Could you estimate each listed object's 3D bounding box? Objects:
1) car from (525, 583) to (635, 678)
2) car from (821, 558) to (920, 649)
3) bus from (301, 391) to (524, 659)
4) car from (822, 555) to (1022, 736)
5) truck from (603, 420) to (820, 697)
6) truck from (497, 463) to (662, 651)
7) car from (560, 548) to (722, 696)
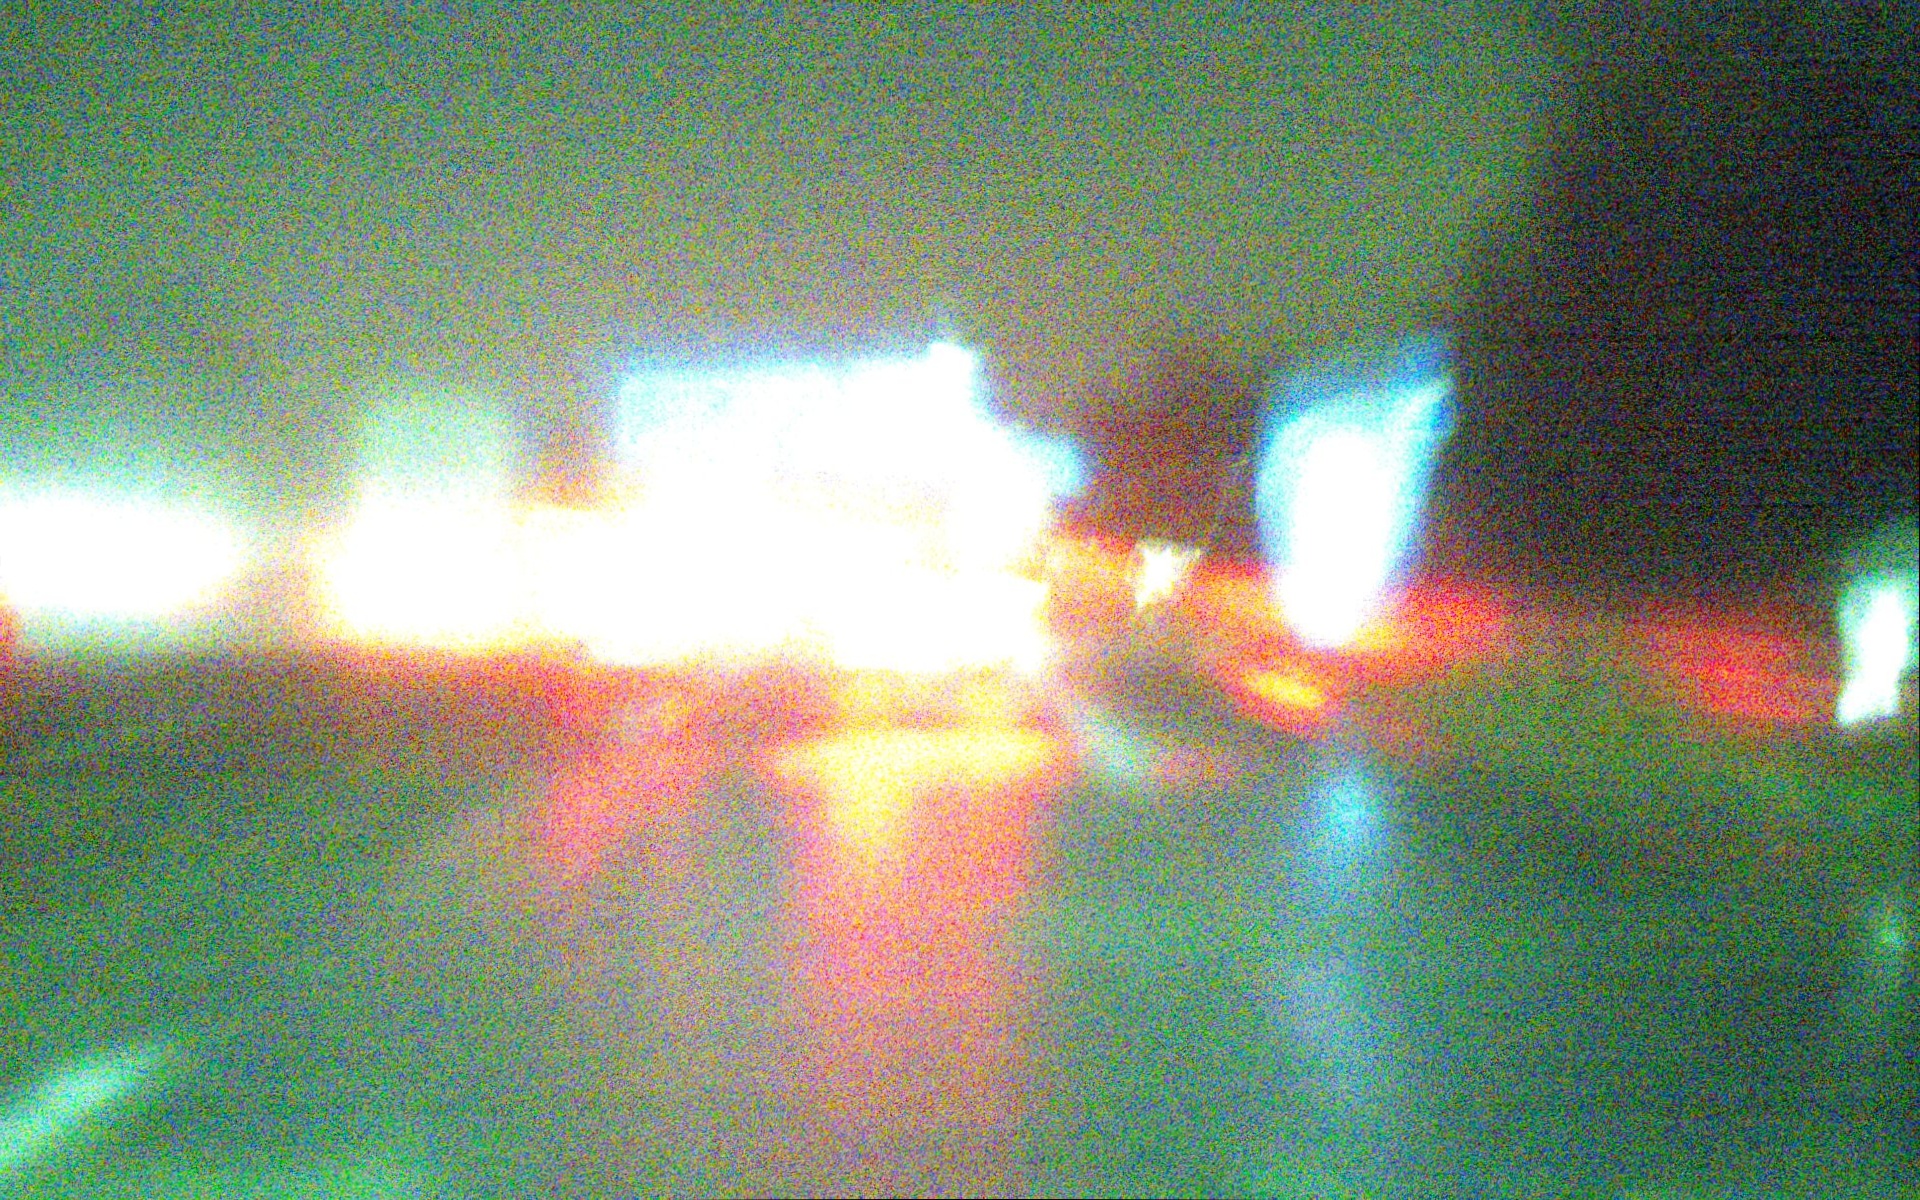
[{"bbox_3d":[-7.564,0.585,68.766,1.993,1.801,4.000,1,0,-4],"label":"car"},{"bbox_3d":[-2.116,0.078,79.921,2.125,2.007,4.646,1,0,-3],"label":"car"},{"bbox_3d":[-9.991,-1.287,63.837,3.096,4.492,10.914,1,0,-4],"label":"bus"},{"bbox_3d":[-0.415,0.453,36.902,1.993,1.801,4.000,1,0,-1],"label":"car"},{"bbox_3d":[-5.355,-0.866,76.729,4.210,5.629,11.468,1,0,-1],"label":"truck"},{"bbox_3d":[-12.016,-1.321,109.854,4.210,5.629,11.468,1,0,-1],"label":"truck"},{"bbox_3d":[-4.554,0.301,49.735,2.125,2.007,4.646,1,0,-3],"label":"car"}]
